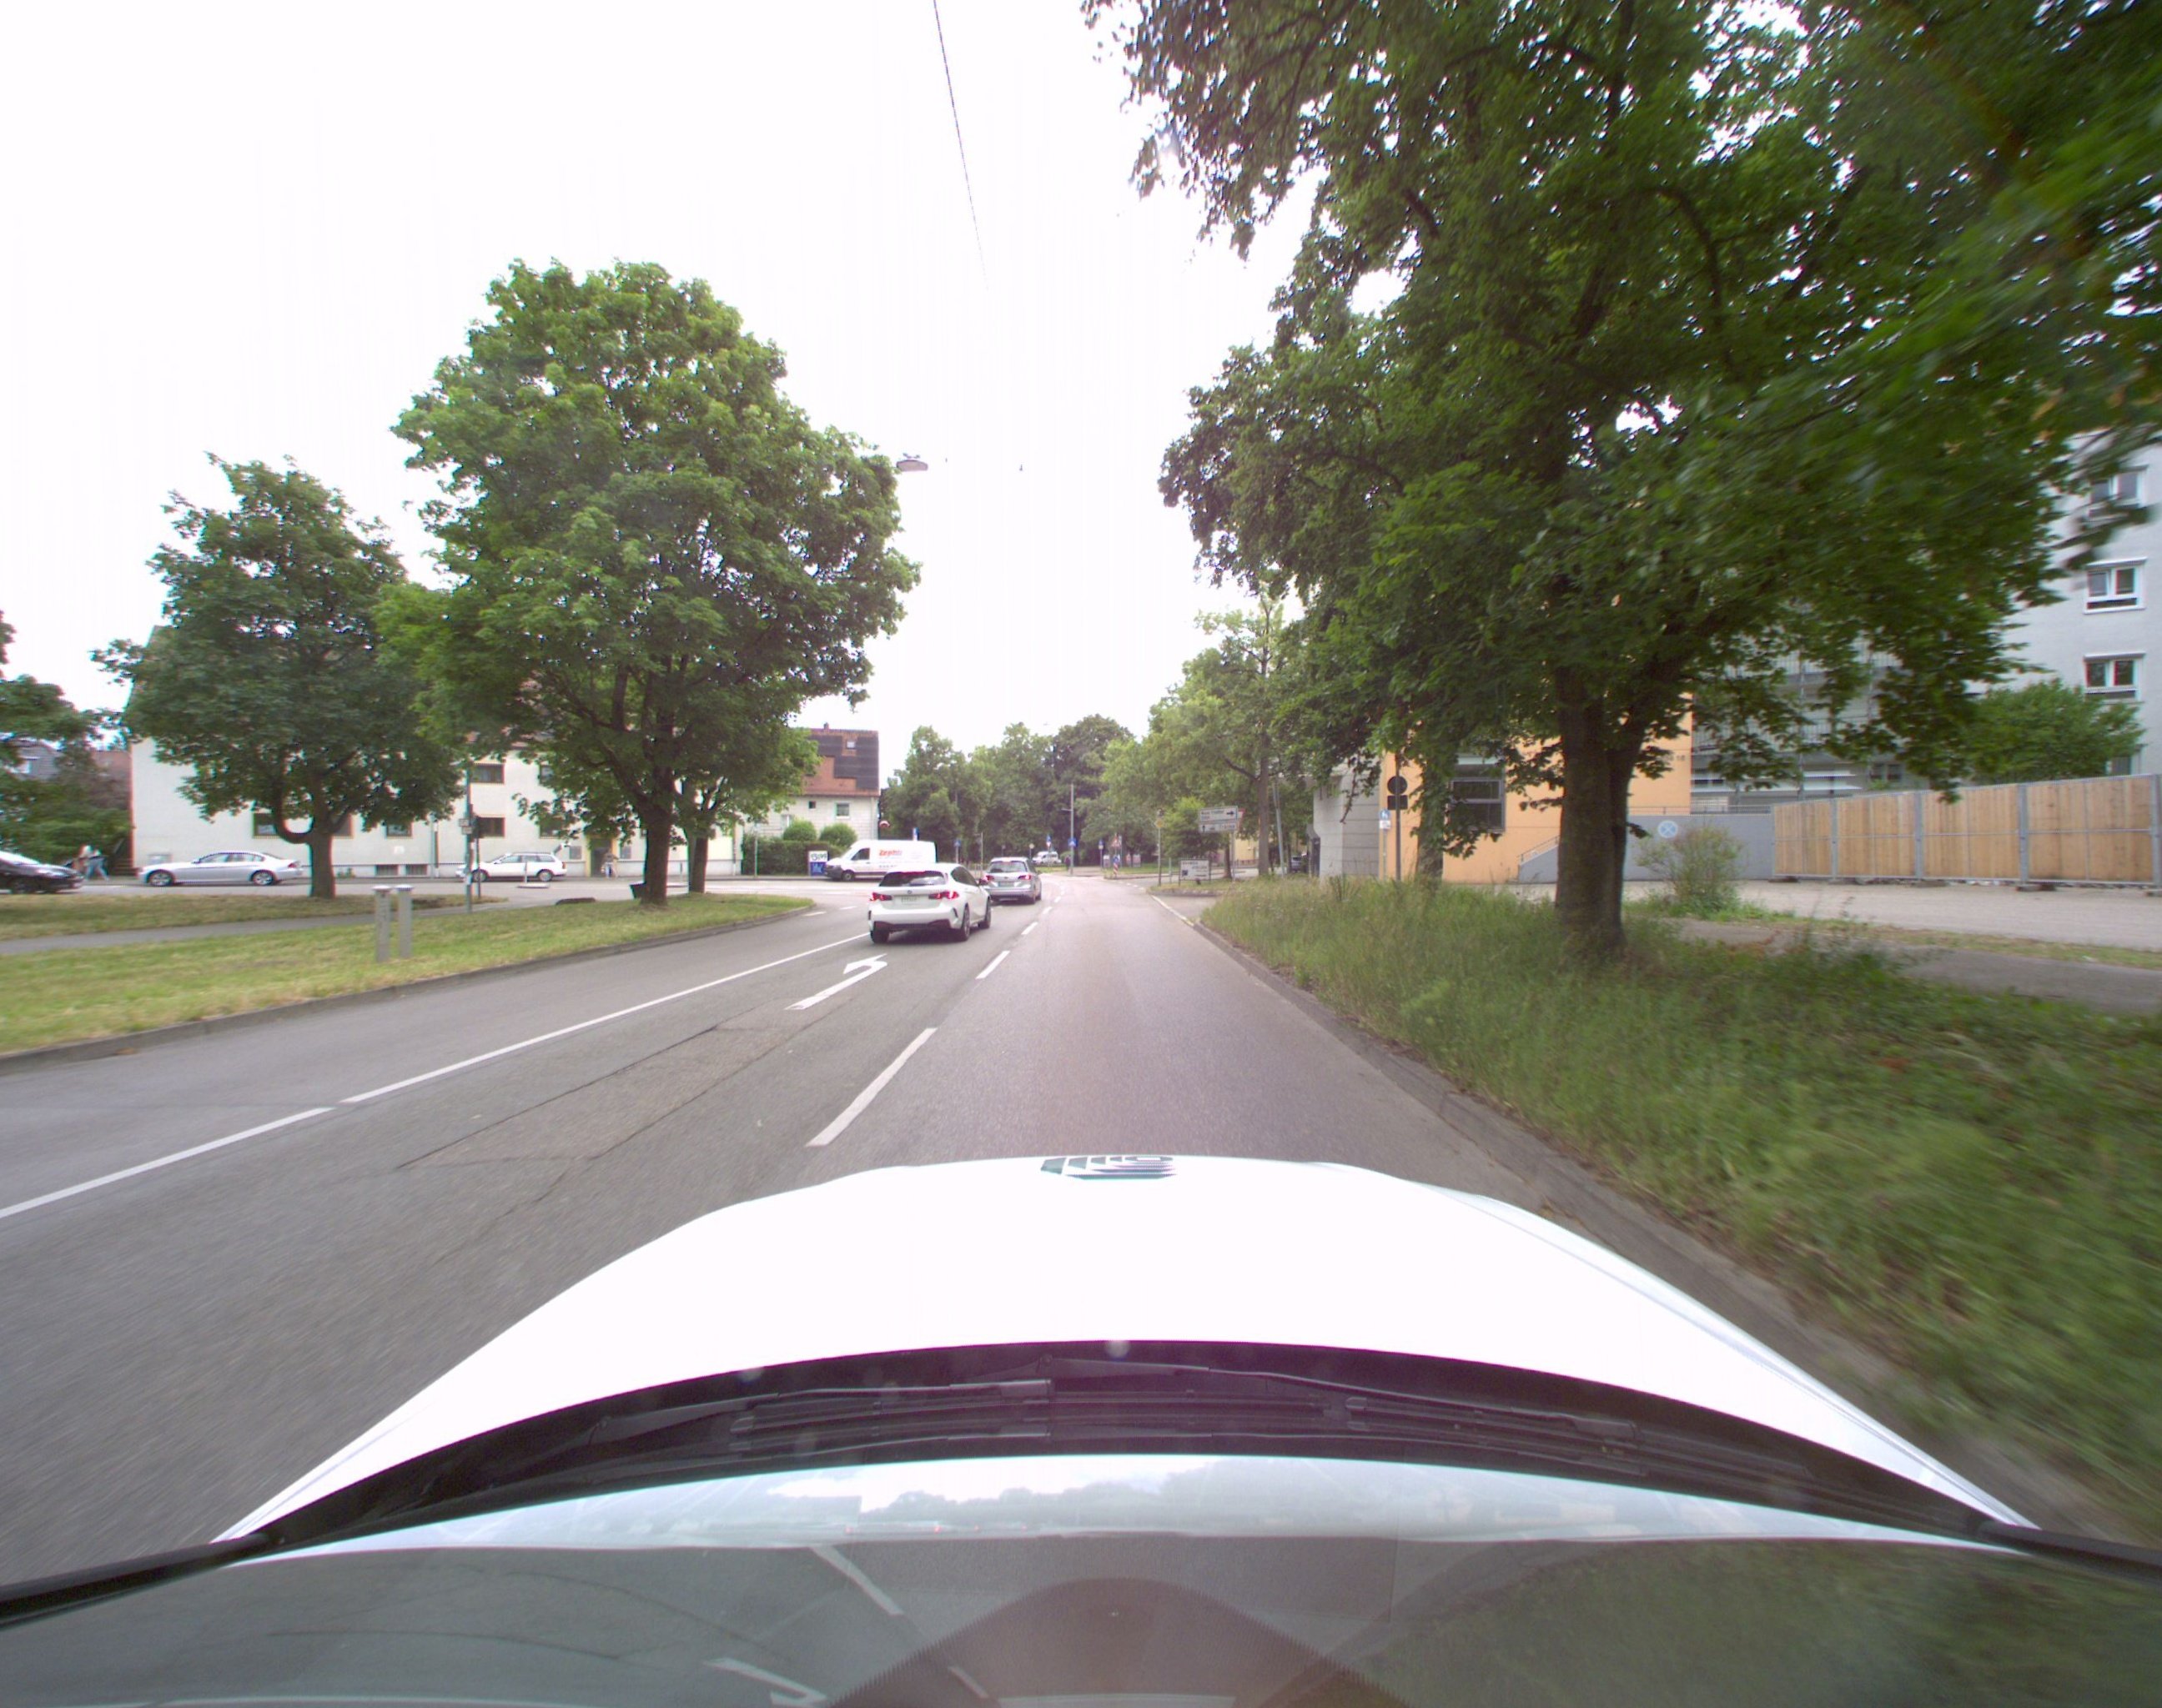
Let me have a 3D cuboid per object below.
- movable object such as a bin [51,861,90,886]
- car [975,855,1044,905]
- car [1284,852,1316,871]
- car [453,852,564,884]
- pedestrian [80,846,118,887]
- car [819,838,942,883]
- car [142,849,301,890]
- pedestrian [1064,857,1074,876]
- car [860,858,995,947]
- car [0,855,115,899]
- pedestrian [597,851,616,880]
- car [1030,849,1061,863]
[{"bbox_3d":[-40.784,0.781,32.864,0.882,0.997,0.400,2,1,-34],"label":"movable object such as a bin"},{"bbox_3d":[-2.404,0.851,28.294,1.916,1.574,4.001,0,0,1],"label":"car"},{"bbox_3d":[19.856,0.655,73.665,1.857,1.568,4.043,3,1,29],"label":"car"},{"bbox_3d":[-28.010,0.718,39.938,4.337,1.440,1.702,2,1,-39],"label":"car"},{"bbox_3d":[-40.130,0.502,33.290,0.785,1.633,0.675,2,1,-34],"label":"pedestrian"},{"bbox_3d":[-12.225,0.391,49.975,7.011,2.521,2.062,1,2,-37],"label":"car"},{"bbox_3d":[-34.786,0.642,33.148,4.254,1.534,1.664,1,-2,-39],"label":"car"},{"bbox_3d":[-1.292,1.361,86.134,0.921,1.871,1.018,-4,3,-3],"label":"pedestrian"},{"bbox_3d":[-2.967,0.881,16.662,1.789,1.517,4.208,-2,0,1],"label":"car"},{"bbox_3d":[-35.064,0.741,26.702,4.009,1.336,1.630,0,2,-27],"label":"car"},{"bbox_3d":[-25.938,0.605,44.500,0.753,1.534,0.708,2,1,-38],"label":"pedestrian"},{"bbox_3d":[-6.145,0.299,141.464,2.110,2.297,5.419,3,1,40],"label":"car"}]
